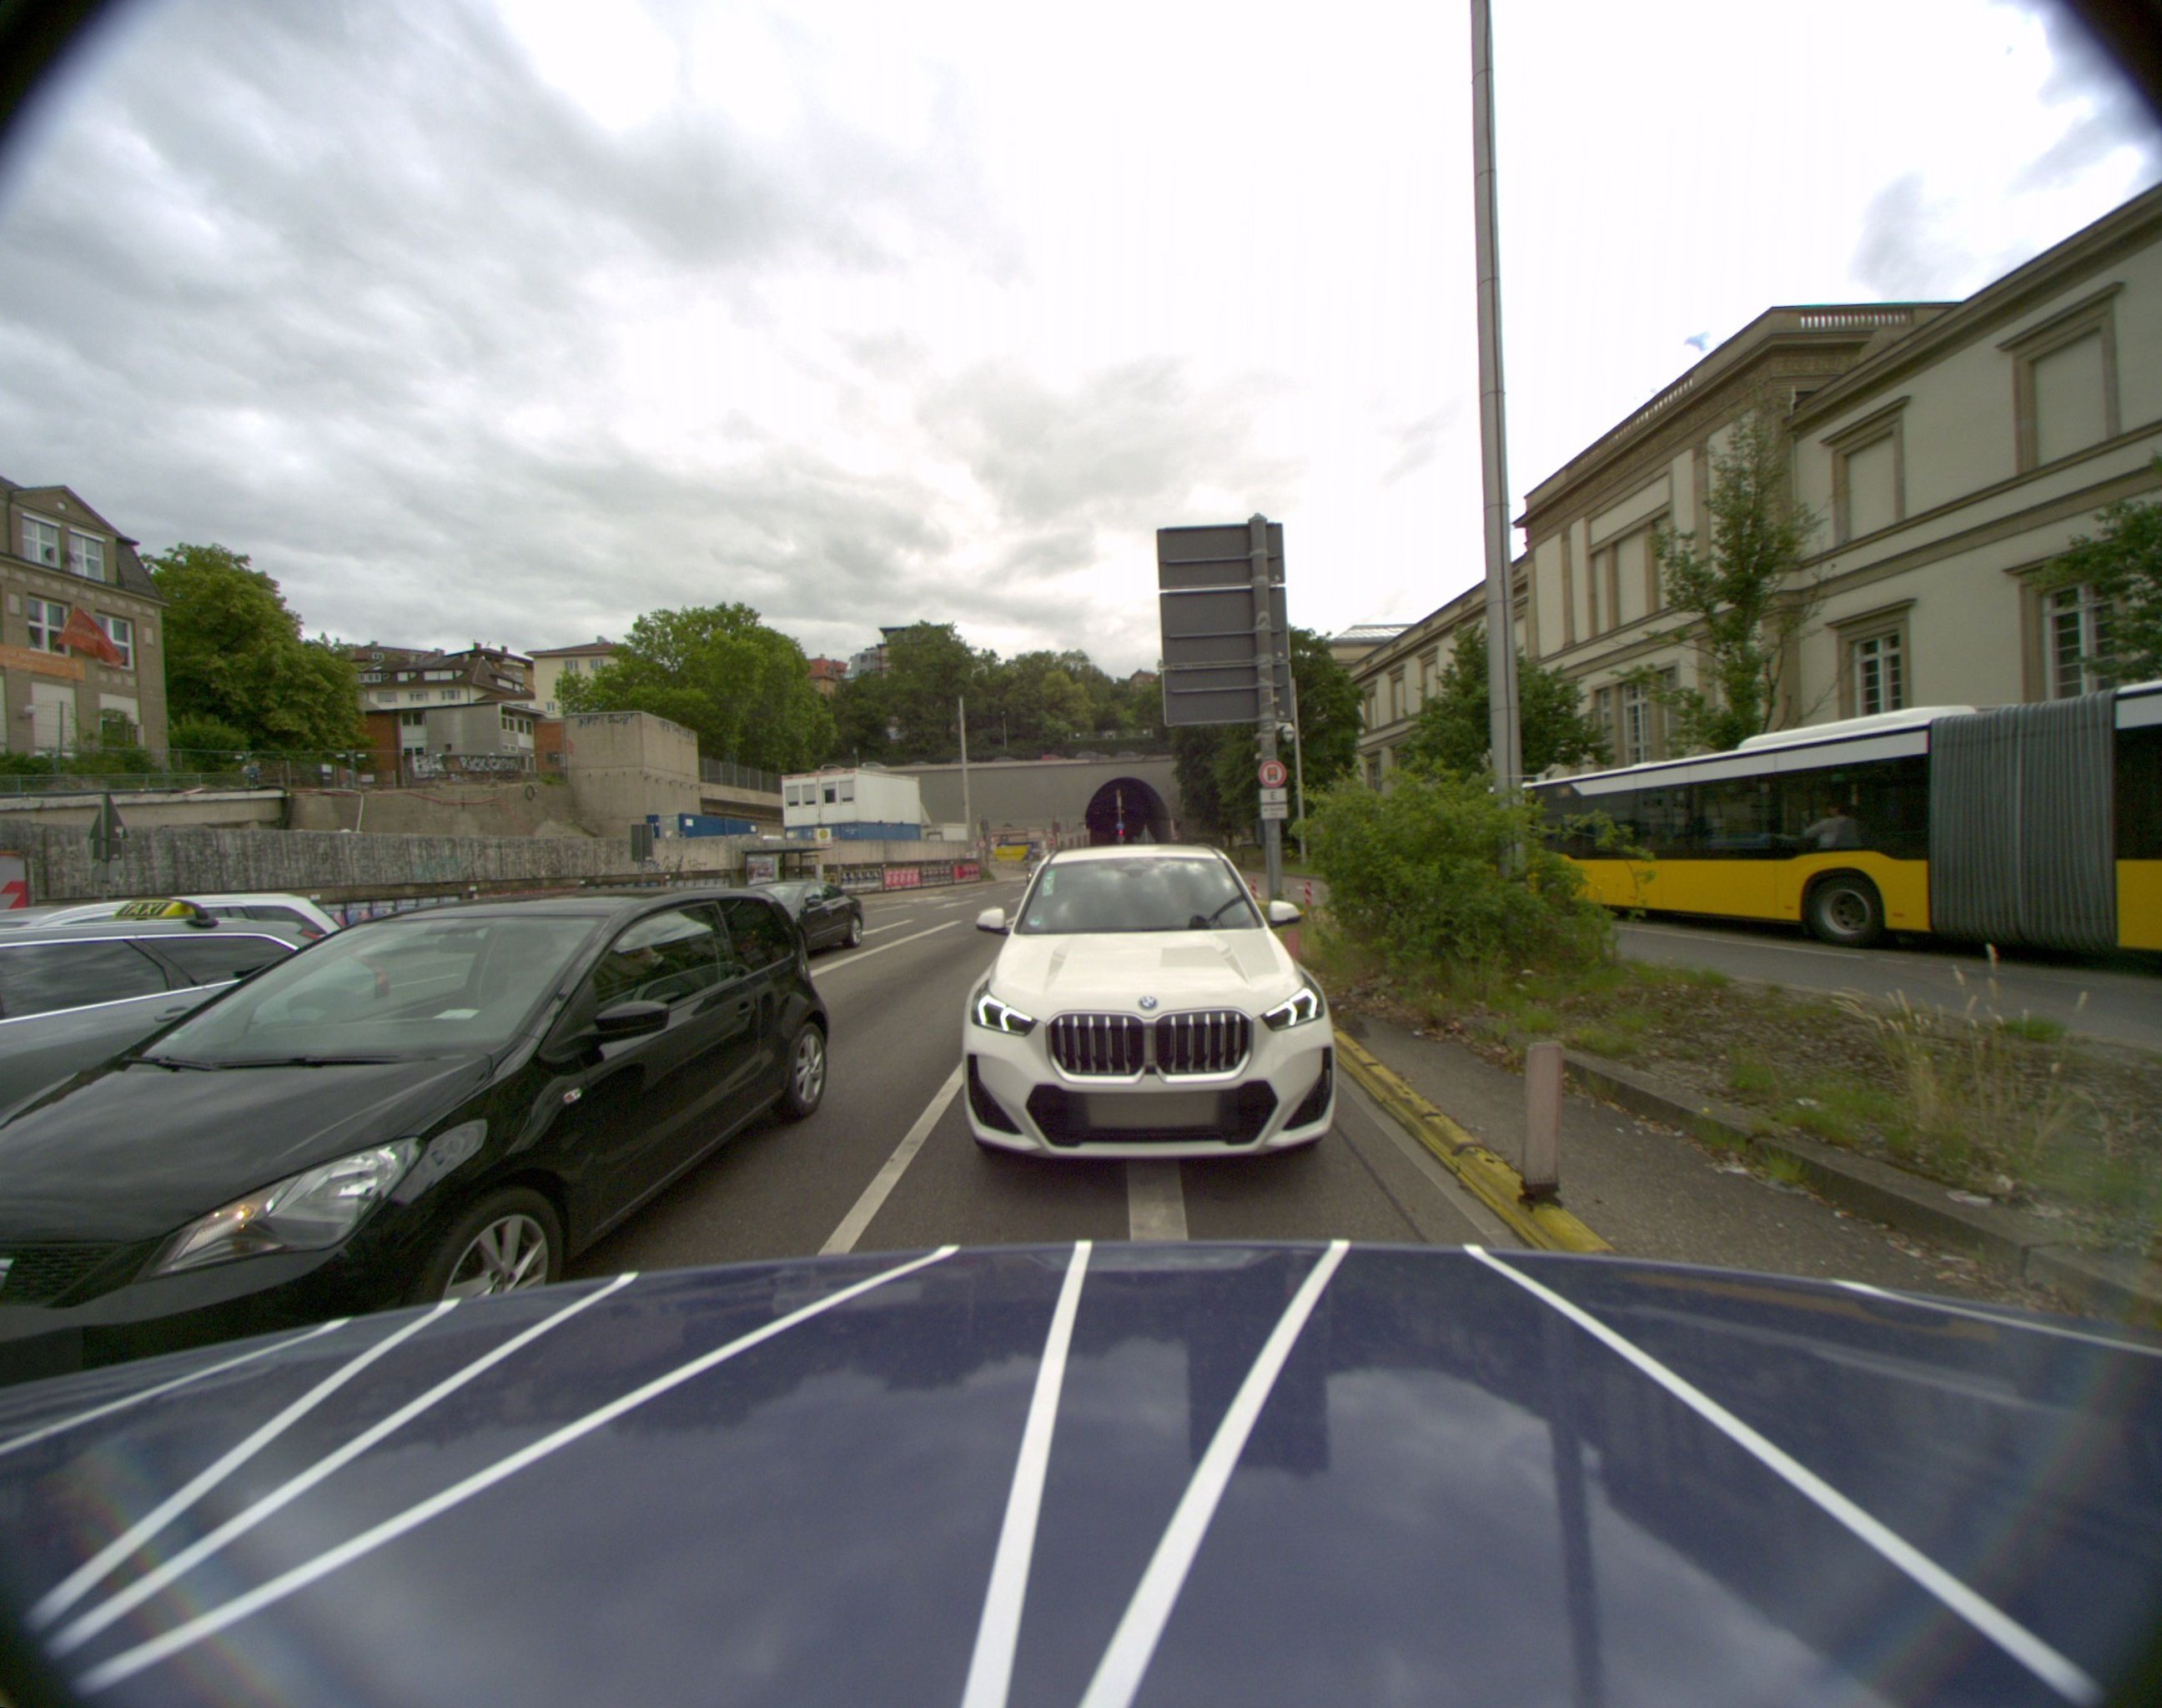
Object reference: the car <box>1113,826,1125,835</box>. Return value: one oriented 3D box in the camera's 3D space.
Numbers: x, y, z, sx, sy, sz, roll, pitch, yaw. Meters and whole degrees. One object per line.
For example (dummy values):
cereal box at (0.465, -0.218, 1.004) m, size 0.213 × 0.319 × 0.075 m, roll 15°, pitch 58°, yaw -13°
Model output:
car at (6.637, -4.069, 132.715) m, size 1.711 × 1.505 × 4.287 m, roll 0°, pitch 0°, yaw -3°

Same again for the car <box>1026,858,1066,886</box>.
car at (-1.999, 1.018, 44.791) m, size 1.730 × 1.435 × 4.001 m, roll -3°, pitch 0°, yaw 5°

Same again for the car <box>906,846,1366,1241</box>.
car at (0.290, 0.798, 5.123) m, size 1.848 × 1.581 × 3.882 m, roll -3°, pitch 0°, yaw 2°

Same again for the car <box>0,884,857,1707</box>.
car at (-2.510, 1.002, 3.413) m, size 1.667 × 1.487 × 3.882 m, roll -3°, pitch 0°, yaw 2°

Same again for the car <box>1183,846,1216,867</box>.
car at (9.064, 0.184, 58.476) m, size 1.705 × 1.463 × 4.629 m, roll -3°, pitch 0°, yaw -1°

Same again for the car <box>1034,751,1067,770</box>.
car at (-3.787, -11.648, 94.404) m, size 3.998 × 2.002 × 1.999 m, roll -2°, pitch 1°, yaw -2°

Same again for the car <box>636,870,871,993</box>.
car at (-5.298, 1.159, 13.089) m, size 1.704 × 1.550 × 4.552 m, roll -3°, pitch 0°, yaw 4°

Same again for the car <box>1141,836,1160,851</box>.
car at (8.042, -1.237, 88.519) m, size 1.701 × 1.580 × 3.882 m, roll -3°, pitch 0°, yaw -1°

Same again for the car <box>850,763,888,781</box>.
car at (-26.024, -10.070, 93.374) m, size 3.998 × 2.002 × 1.999 m, roll -2°, pitch 1°, yaw -5°

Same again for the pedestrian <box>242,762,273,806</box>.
pedestrian at (-39.052, -3.314, 36.042) m, size 0.646 × 2.002 × 0.666 m, roll -2°, pitch 1°, yaw -3°

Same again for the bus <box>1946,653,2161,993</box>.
bus at (11.273, -0.332, 4.063) m, size 2.853 × 3.096 × 9.121 m, roll -3°, pitch 0°, yaw 0°

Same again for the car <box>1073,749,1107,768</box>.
car at (1.091, -11.827, 94.489) m, size 3.998 × 2.002 × 1.999 m, roll -2°, pitch 1°, yaw -2°

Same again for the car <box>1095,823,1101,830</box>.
car at (4.323, -7.073, 193.472) m, size 1.667 × 1.582 × 3.882 m, roll -1°, pitch 0°, yaw 2°

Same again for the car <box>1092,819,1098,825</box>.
car at (4.000, -9.107, 217.461) m, size 1.667 × 1.582 × 3.882 m, roll -1°, pitch 0°, yaw 2°

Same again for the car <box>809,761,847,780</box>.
car at (-31.073, -10.257, 93.310) m, size 3.998 × 2.002 × 1.999 m, roll -2°, pitch 1°, yaw -5°

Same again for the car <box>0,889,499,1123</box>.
car at (-8.992, 1.314, 8.087) m, size 1.704 × 1.550 × 4.552 m, roll -3°, pitch 0°, yaw 6°

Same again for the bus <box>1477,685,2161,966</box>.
bus at (11.199, -0.338, 13.572) m, size 2.853 × 3.096 × 9.747 m, roll -3°, pitch 0°, yaw -2°

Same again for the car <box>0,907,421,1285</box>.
car at (-5.886, 1.231, 3.255) m, size 1.826 × 1.562 × 4.654 m, roll -3°, pitch 0°, yaw 3°
